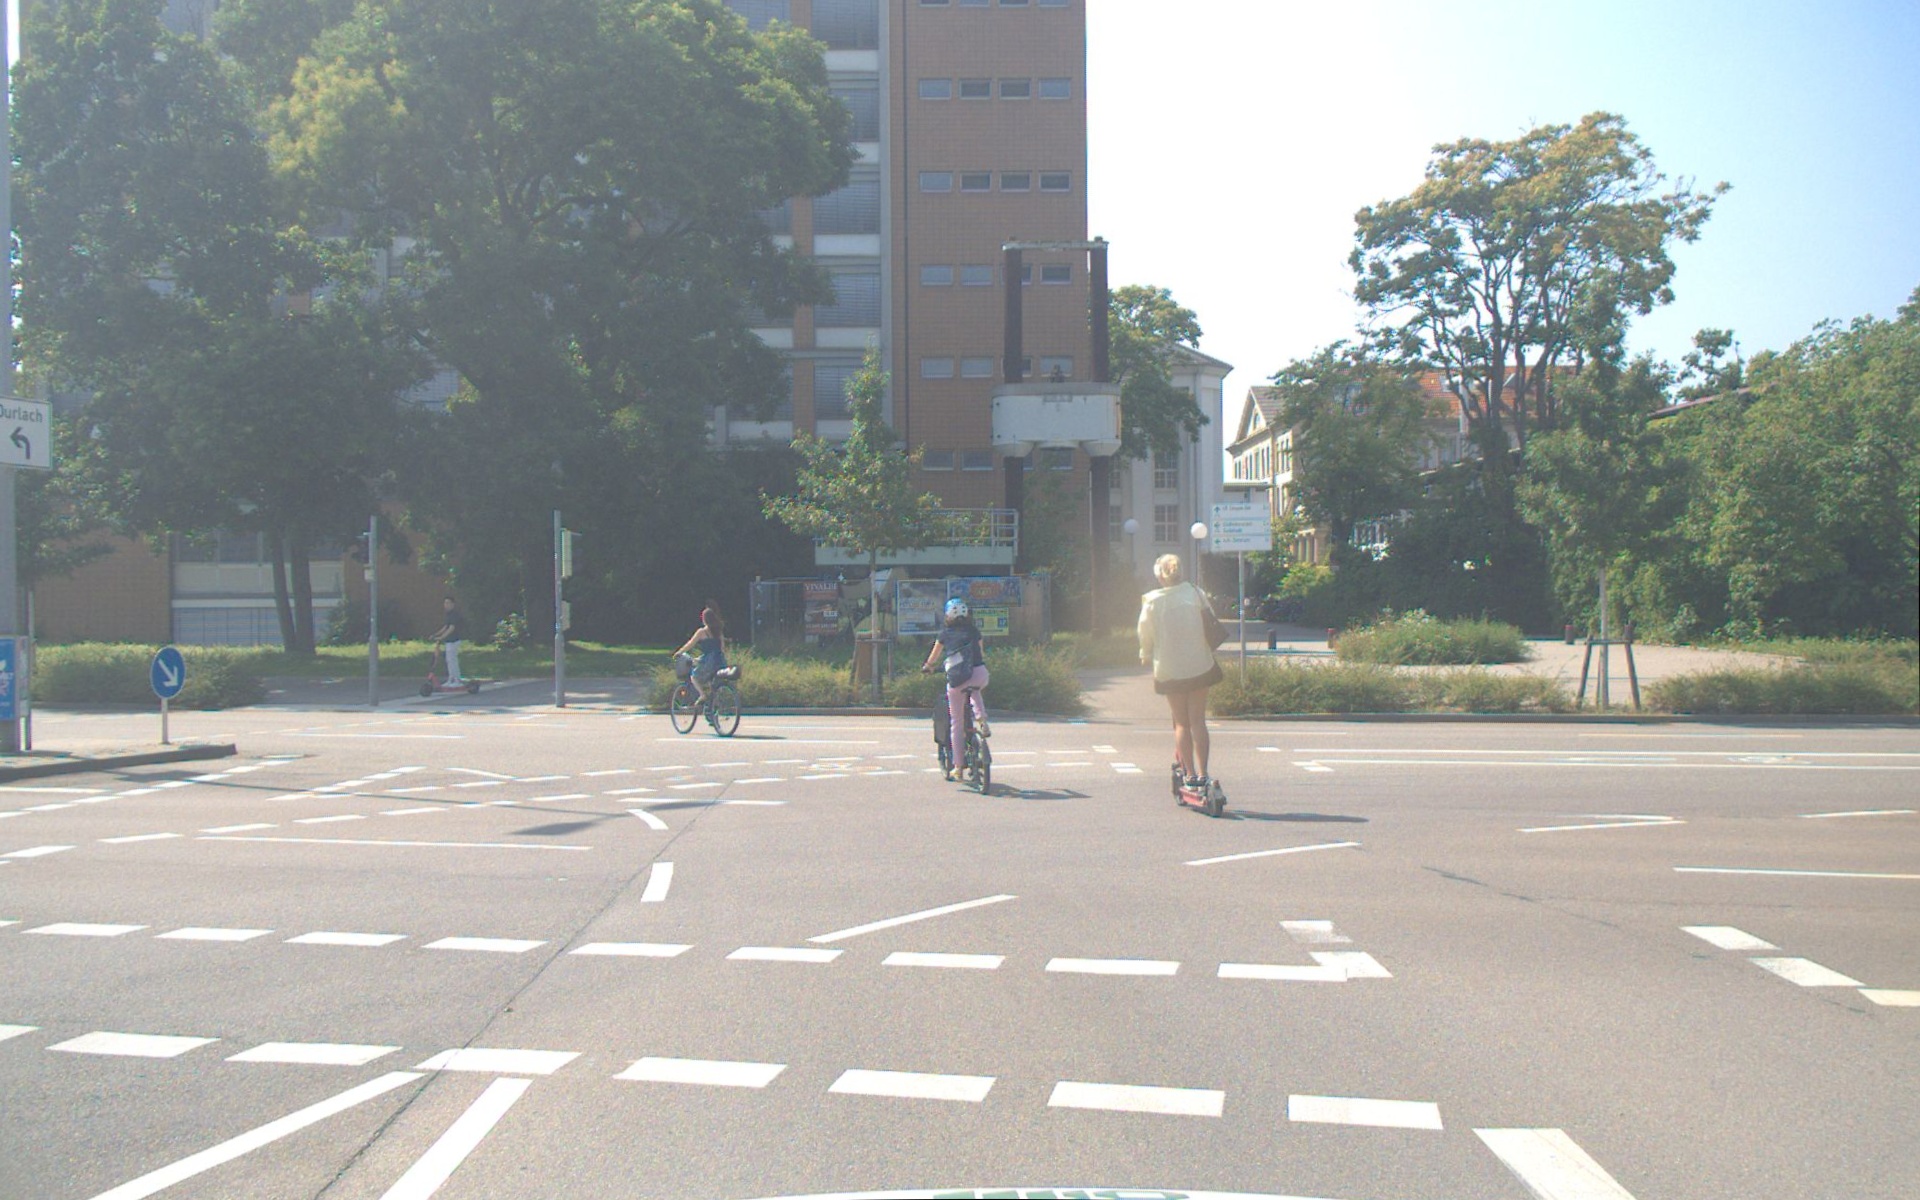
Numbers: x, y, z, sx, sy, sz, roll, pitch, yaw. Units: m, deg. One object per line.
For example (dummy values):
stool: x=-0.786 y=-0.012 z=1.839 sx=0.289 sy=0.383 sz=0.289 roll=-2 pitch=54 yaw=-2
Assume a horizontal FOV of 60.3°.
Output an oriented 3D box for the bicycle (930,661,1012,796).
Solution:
bicycle: x=0.070 y=1.090 z=14.567 sx=0.545 sy=1.079 sz=2.002 roll=-1 pitch=-2 yaw=-4

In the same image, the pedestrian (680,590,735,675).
pedestrian: x=-5.275 y=0.680 z=34.561 sx=0.858 sy=1.734 sz=0.708 roll=-1 pitch=2 yaw=18

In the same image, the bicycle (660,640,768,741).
bicycle: x=-3.390 y=1.200 z=22.606 sx=0.686 sy=1.175 sz=2.349 roll=-2 pitch=2 yaw=-28

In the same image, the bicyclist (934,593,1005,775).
bicyclist: x=0.076 y=0.722 z=14.402 sx=0.538 sy=1.522 sz=0.803 roll=-1 pitch=-2 yaw=-5

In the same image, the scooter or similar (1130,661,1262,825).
scooter or similar: x=1.716 y=1.012 z=12.295 sx=0.545 sy=1.079 sz=2.002 roll=-1 pitch=-1 yaw=-4

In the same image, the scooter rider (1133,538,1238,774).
scooter rider: x=1.690 y=0.411 z=12.463 sx=0.657 sy=1.729 sz=0.538 roll=-1 pitch=-1 yaw=-5

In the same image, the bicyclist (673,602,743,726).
bicyclist: x=-3.464 y=0.860 z=22.710 sx=0.682 sy=1.626 sz=0.836 roll=-2 pitch=2 yaw=-28

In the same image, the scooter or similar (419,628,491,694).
scooter or similar: x=-10.109 y=1.210 z=33.112 sx=1.342 sy=1.256 sz=0.582 roll=-1 pitch=0 yaw=-18

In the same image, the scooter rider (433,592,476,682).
scooter rider: x=-10.102 y=0.730 z=33.066 sx=0.790 sy=1.770 sz=0.685 roll=-1 pitch=-1 yaw=-19
